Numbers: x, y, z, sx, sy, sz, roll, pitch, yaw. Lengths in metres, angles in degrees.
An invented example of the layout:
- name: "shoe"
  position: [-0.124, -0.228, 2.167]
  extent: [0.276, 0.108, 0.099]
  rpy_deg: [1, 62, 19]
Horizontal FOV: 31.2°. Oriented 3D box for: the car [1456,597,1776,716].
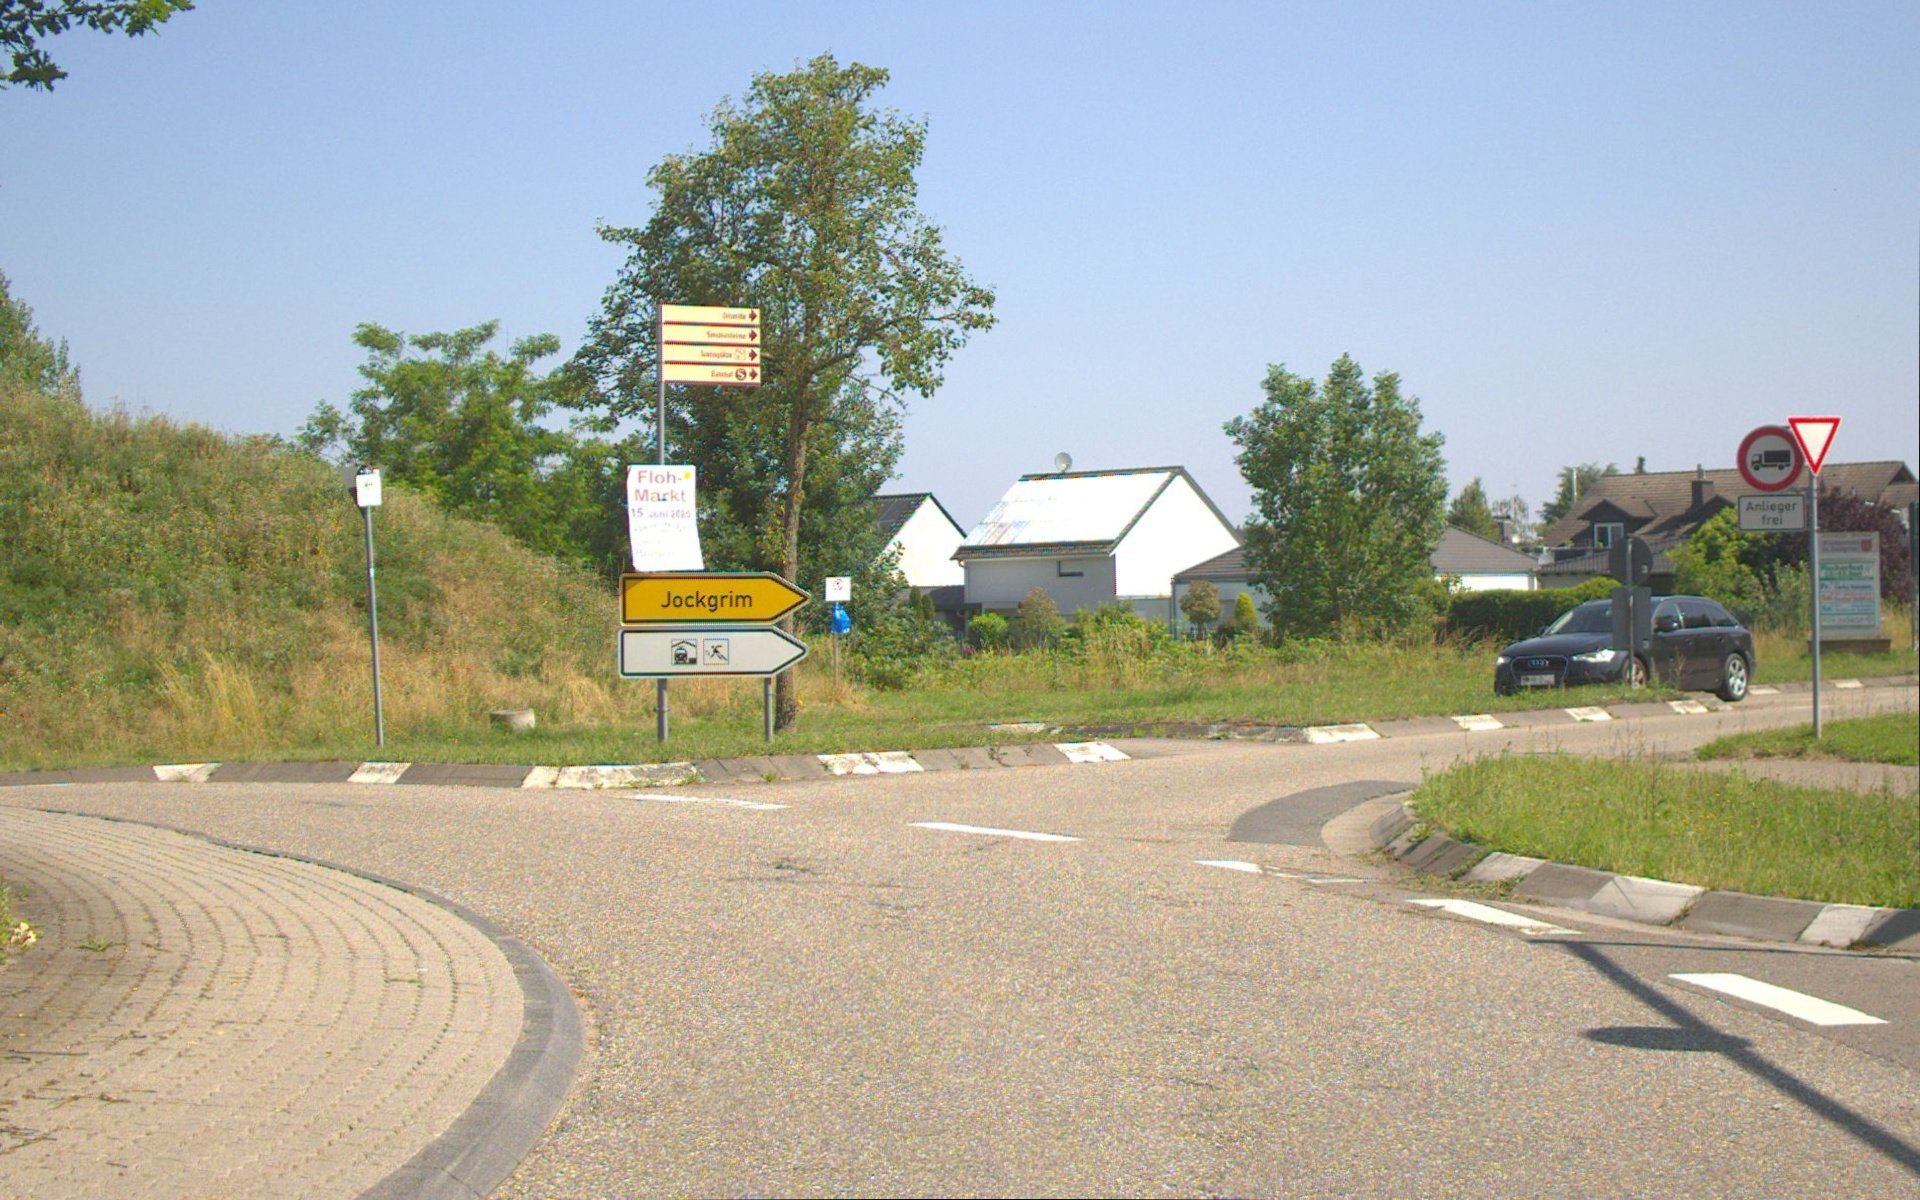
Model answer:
- name: "car"
  position: [8.796, 0.726, 45.834]
  extent: [1.922, 1.429, 4.900]
  rpy_deg: [-5, -3, 41]
